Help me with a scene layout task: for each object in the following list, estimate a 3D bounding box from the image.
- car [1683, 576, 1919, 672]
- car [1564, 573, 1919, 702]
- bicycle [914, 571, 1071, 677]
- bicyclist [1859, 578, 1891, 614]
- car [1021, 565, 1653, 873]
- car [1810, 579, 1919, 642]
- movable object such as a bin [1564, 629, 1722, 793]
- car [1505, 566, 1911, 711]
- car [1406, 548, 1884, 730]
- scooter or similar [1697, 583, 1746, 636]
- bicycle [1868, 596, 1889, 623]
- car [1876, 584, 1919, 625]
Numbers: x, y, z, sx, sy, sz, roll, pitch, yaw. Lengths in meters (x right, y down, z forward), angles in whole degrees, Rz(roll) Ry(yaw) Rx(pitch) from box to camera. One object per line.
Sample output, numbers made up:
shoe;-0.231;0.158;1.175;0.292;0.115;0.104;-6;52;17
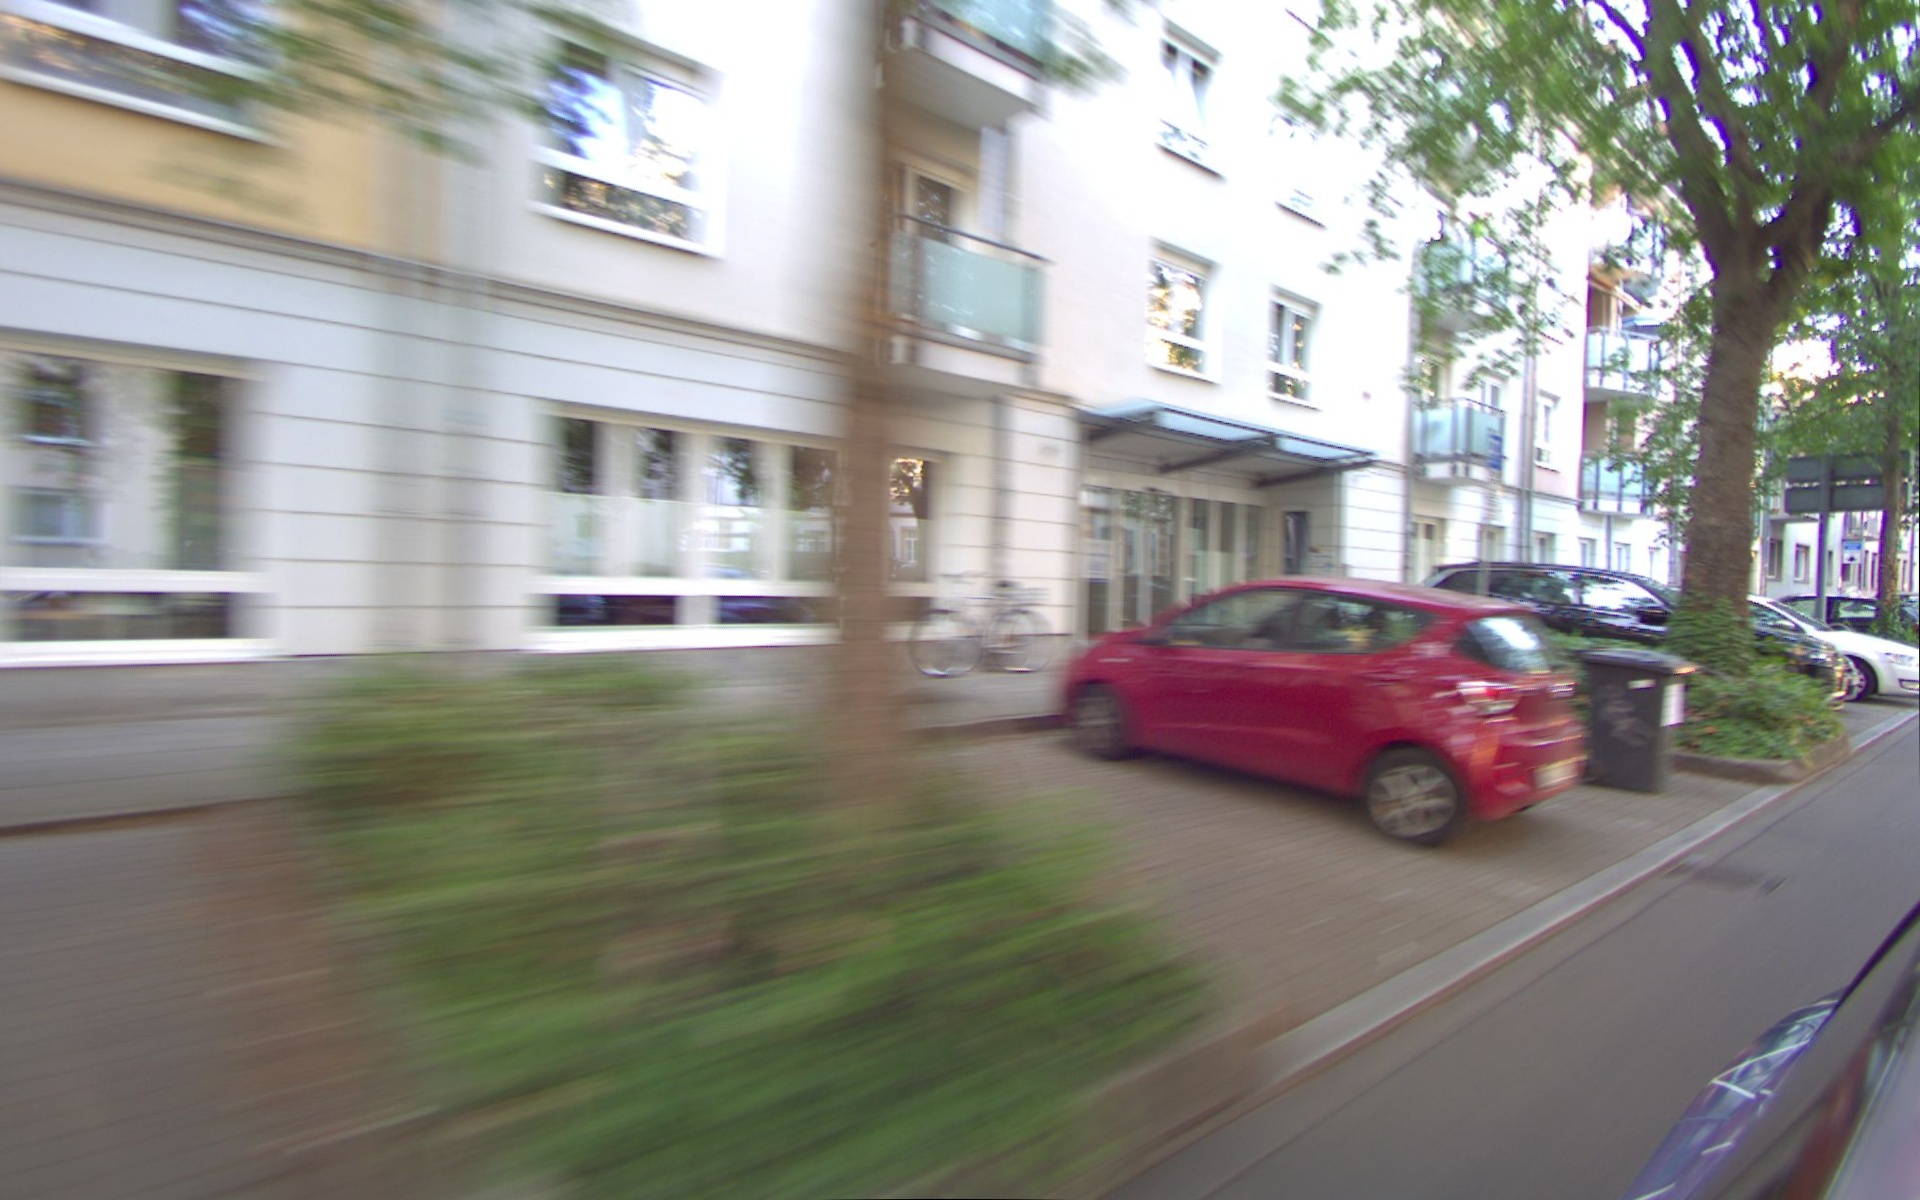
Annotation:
car;16.911;0.426;19.891;4.087;1.468;1.904;7;5;45
car;12.456;0.469;15.990;1.765;1.485;4.611;0;5;-41
bicycle;0.384;0.236;10.886;1.849;1.049;0.425;0;3;-41
bicyclist;42.372;-0.207;46.857;1.117;1.624;0.971;0;1;-43
car;2.420;0.554;7.179;1.845;1.563;3.783;0;1;-41
car;27.226;0.342;29.074;1.883;1.604;3.979;0;4;-41
movable object such as a bin;5.217;0.806;7.737;0.771;1.097;0.762;1;3;-40
car;10.448;0.409;14.445;1.894;1.455;4.238;0;5;-38
car;8.459;0.315;12.855;1.977;1.636;4.649;0;5;-44
scooter or similar;18.697;0.221;24.843;1.430;1.217;0.656;0;4;-44
bicycle;42.483;0.422;46.785;0.620;1.178;3.348;2;2;43
car;37.145;0.310;37.422;1.973;1.444;4.476;0;4;-36
